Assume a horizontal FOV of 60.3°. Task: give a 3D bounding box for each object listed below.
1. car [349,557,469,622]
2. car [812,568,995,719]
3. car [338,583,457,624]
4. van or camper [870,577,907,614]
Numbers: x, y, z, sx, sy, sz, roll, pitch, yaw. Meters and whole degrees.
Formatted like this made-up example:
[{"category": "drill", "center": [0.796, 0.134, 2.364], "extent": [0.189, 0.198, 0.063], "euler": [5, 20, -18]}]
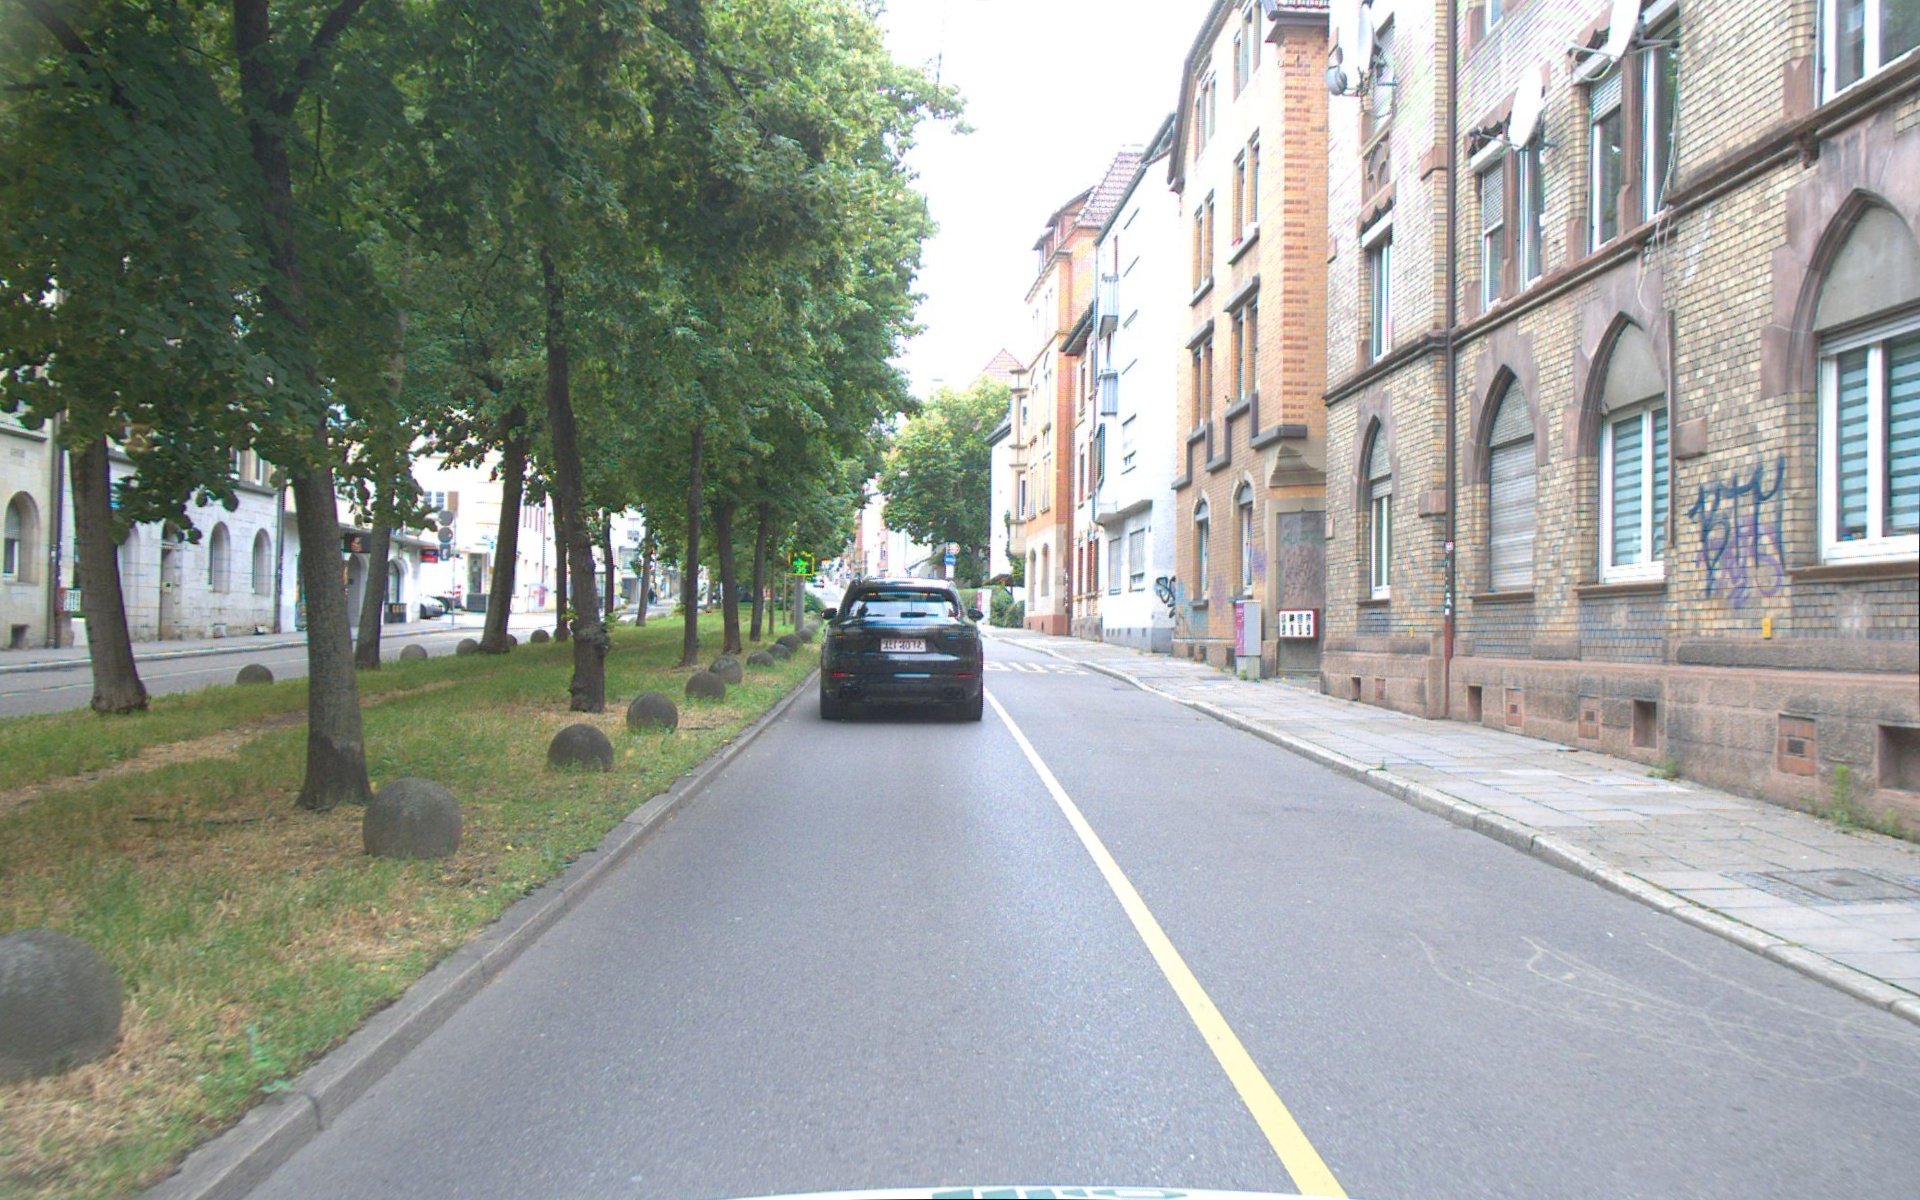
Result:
[{"category": "car", "center": [-25.770, -0.478, 77.527], "extent": [5.085, 2.784, 2.169], "euler": [2, -1, -14]}, {"category": "car", "center": [-0.816, 0.506, 20.836], "extent": [1.867, 1.695, 4.128], "euler": [1, 0, -8]}, {"category": "car", "center": [-23.423, 0.132, 68.989], "extent": [4.204, 1.444, 2.046], "euler": [4, 0, -4]}, {"category": "van or camper", "center": [-5.729, -0.335, 131.706], "extent": [2.432, 2.852, 7.229], "euler": [1, 0, -6]}]
